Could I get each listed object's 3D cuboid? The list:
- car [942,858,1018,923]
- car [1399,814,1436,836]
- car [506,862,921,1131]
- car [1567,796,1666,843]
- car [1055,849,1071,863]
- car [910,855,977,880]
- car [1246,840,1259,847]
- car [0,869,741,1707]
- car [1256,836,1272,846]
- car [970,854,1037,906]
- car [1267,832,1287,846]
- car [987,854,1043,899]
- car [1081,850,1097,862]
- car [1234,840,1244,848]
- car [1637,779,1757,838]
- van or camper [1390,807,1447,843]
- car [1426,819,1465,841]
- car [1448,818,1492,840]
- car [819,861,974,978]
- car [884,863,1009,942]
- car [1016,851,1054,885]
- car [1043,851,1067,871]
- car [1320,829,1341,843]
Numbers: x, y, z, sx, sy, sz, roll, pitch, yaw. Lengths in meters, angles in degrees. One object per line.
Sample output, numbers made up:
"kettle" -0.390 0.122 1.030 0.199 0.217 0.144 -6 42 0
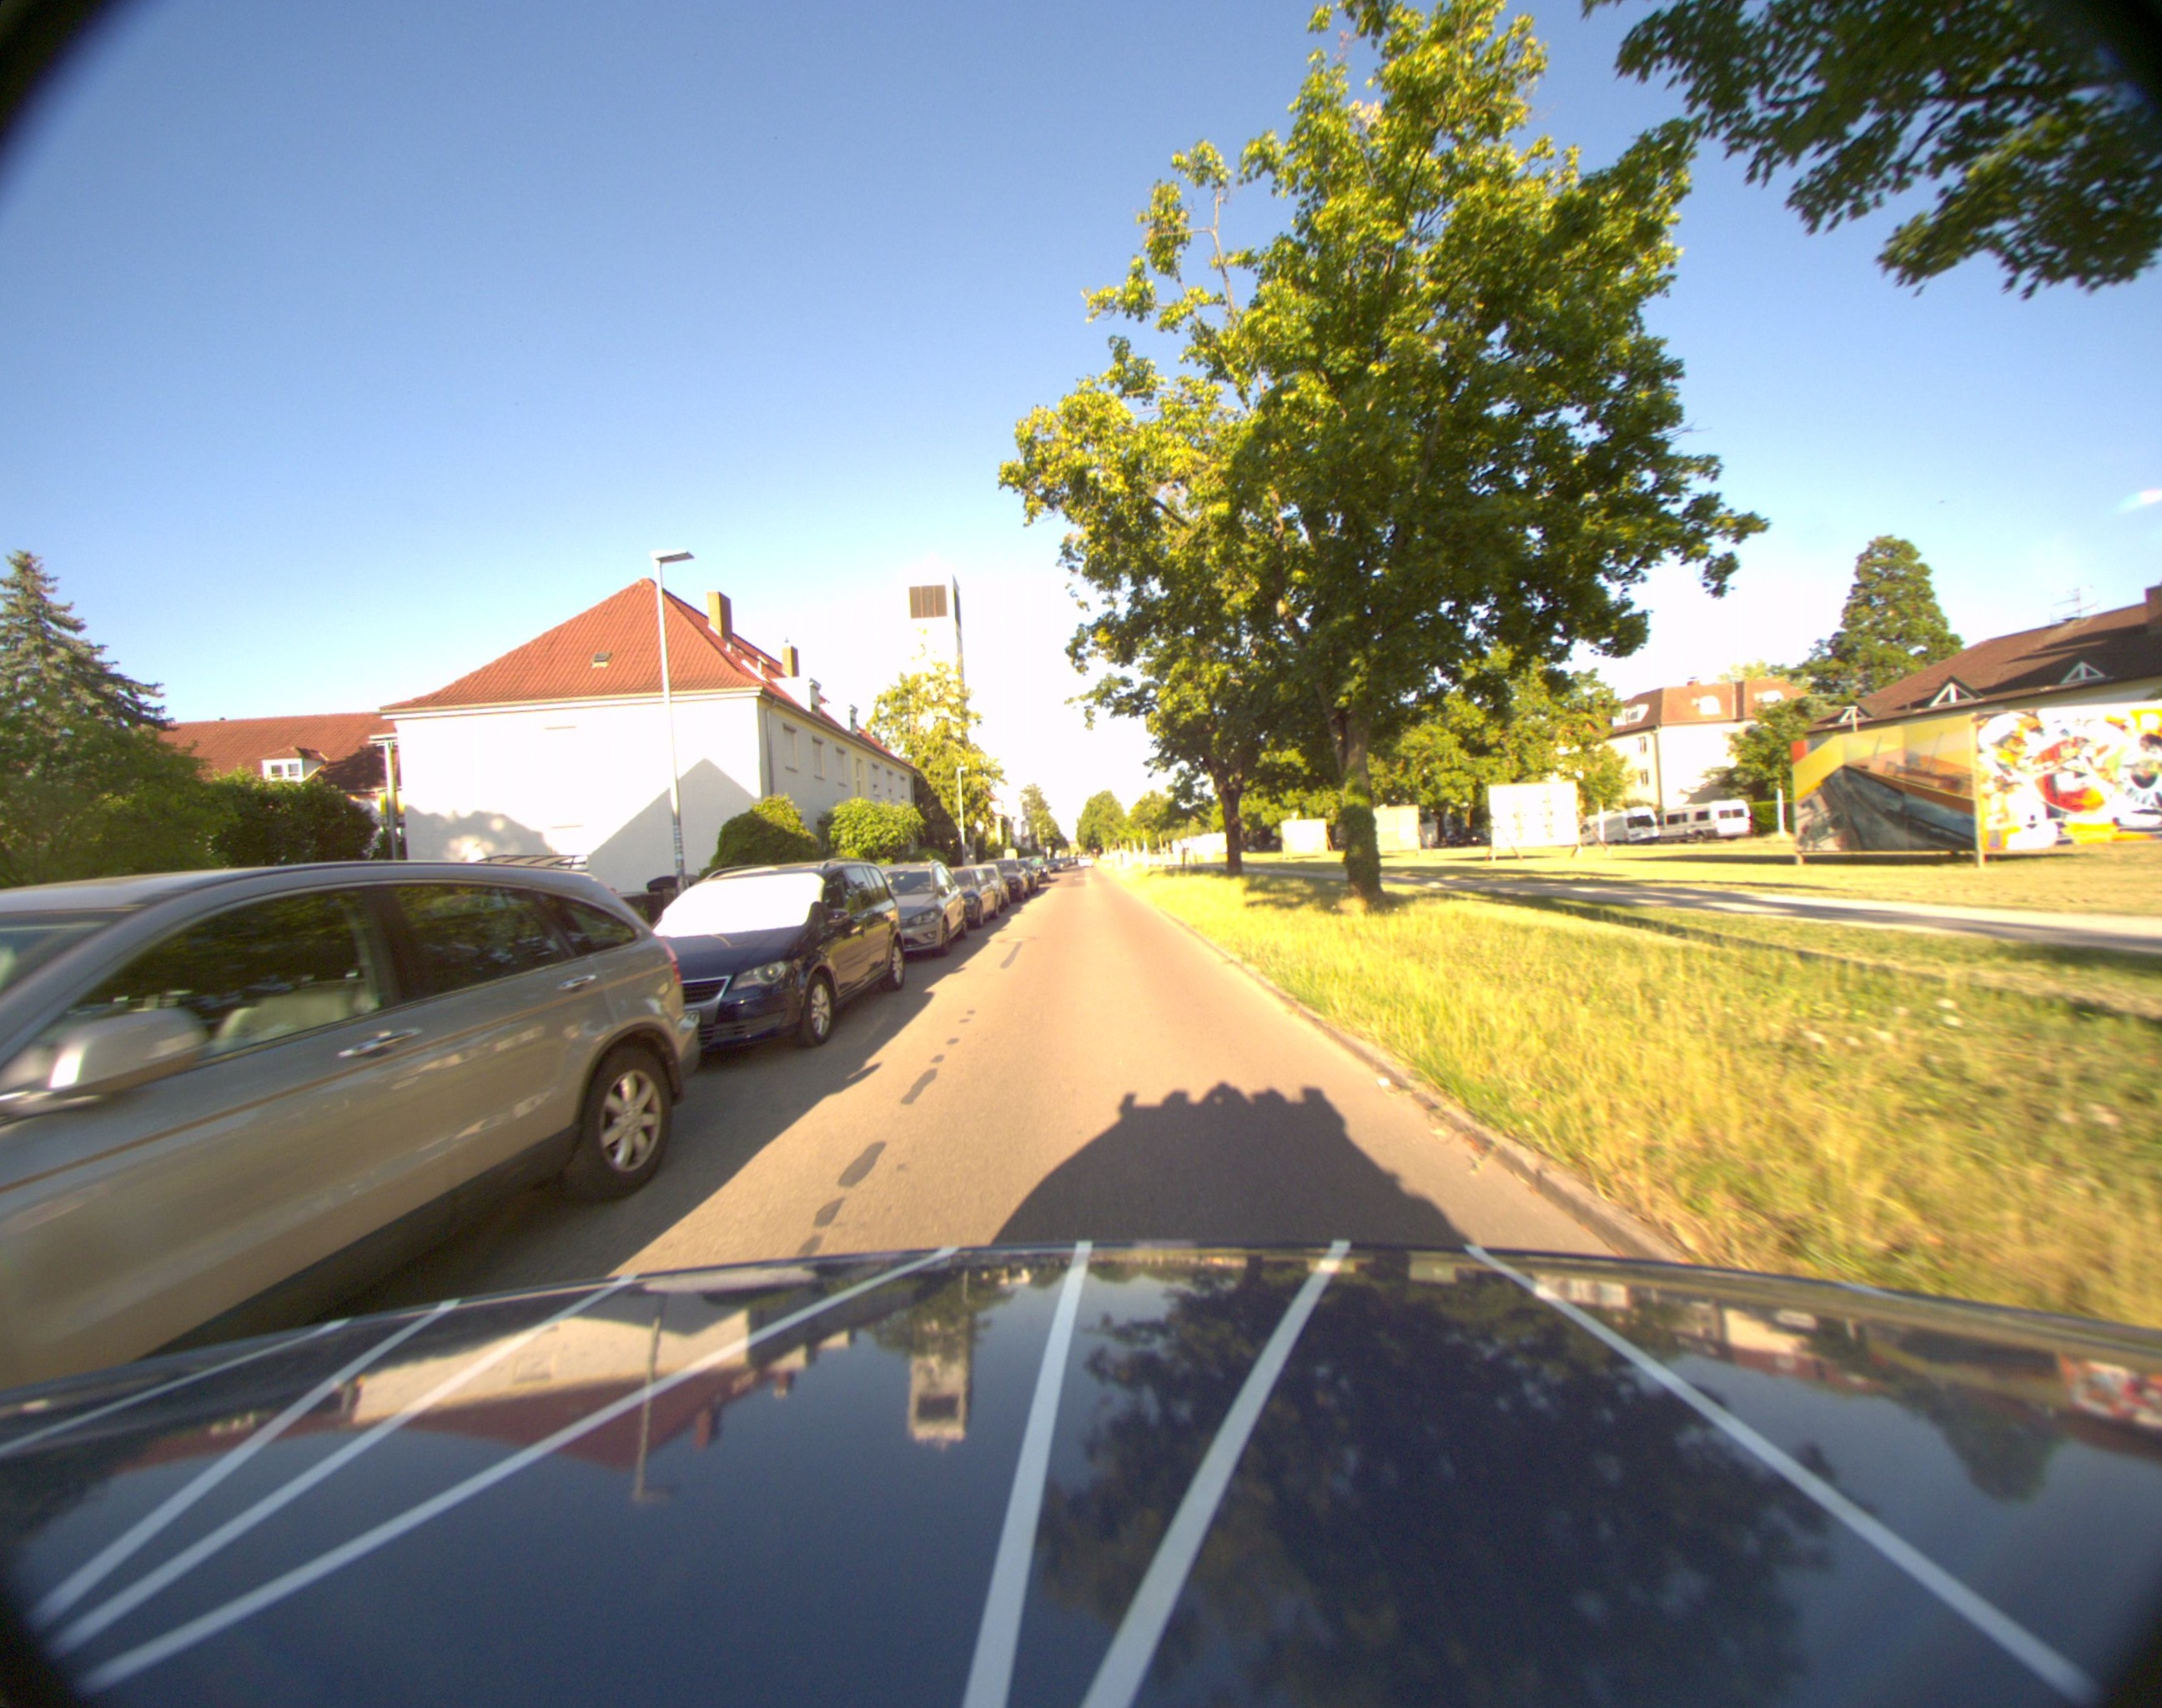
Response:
"car" -3.043 1.044 23.700 1.732 1.539 4.206 -8 1 -1
"car" 34.258 -2.900 77.452 1.998 2.002 4.000 -4 0 1
"car" -3.100 1.041 7.766 1.770 1.625 4.763 -5 1 0
"car" 34.121 -2.136 48.707 2.266 2.810 5.870 0 2 1
"car" -2.527 0.212 107.173 1.999 1.588 4.885 -8 1 0
"car" -10.923 1.065 60.572 4.859 1.478 2.001 -4 4 0
"car" 40.894 -2.494 181.078 1.999 1.490 3.999 -3 0 -4
"car" -3.054 0.997 2.327 1.781 1.634 4.755 -3 1 0
"car" 34.847 -2.510 144.669 1.999 1.718 4.344 -3 0 -1
"car" -2.866 0.926 29.135 1.859 1.647 4.819 -5 0 1
"car" 34.686 -2.601 134.620 1.999 2.161 4.570 -3 0 -2
"car" -2.915 0.951 34.661 1.938 1.710 4.621 -6 0 0
"car" 1.057 0.233 102.358 1.999 1.483 3.999 -4 1 0
"car" 35.145 -2.202 169.024 1.894 1.513 3.681 -3 0 6
"car" 39.886 -2.844 49.532 2.309 3.539 6.763 0 2 1
"van or camper" 34.258 -2.900 77.452 2.648 3.243 6.904 -4 0 1
"car" 40.395 -2.670 84.314 1.942 2.405 5.116 0 2 1
"car" 40.485 -2.592 79.125 1.974 1.993 5.049 -4 1 1
"car" -3.047 0.991 13.526 1.729 1.552 4.415 -4 1 -2
"car" -3.132 1.074 18.751 1.998 1.454 4.561 -5 0 2
"car" -2.704 0.798 46.134 1.837 1.722 5.030 -6 1 0
"car" -2.549 0.672 74.852 1.827 1.552 4.621 -10 0 1
"car" 40.086 -2.871 122.024 1.998 2.142 4.000 -4 0 1
